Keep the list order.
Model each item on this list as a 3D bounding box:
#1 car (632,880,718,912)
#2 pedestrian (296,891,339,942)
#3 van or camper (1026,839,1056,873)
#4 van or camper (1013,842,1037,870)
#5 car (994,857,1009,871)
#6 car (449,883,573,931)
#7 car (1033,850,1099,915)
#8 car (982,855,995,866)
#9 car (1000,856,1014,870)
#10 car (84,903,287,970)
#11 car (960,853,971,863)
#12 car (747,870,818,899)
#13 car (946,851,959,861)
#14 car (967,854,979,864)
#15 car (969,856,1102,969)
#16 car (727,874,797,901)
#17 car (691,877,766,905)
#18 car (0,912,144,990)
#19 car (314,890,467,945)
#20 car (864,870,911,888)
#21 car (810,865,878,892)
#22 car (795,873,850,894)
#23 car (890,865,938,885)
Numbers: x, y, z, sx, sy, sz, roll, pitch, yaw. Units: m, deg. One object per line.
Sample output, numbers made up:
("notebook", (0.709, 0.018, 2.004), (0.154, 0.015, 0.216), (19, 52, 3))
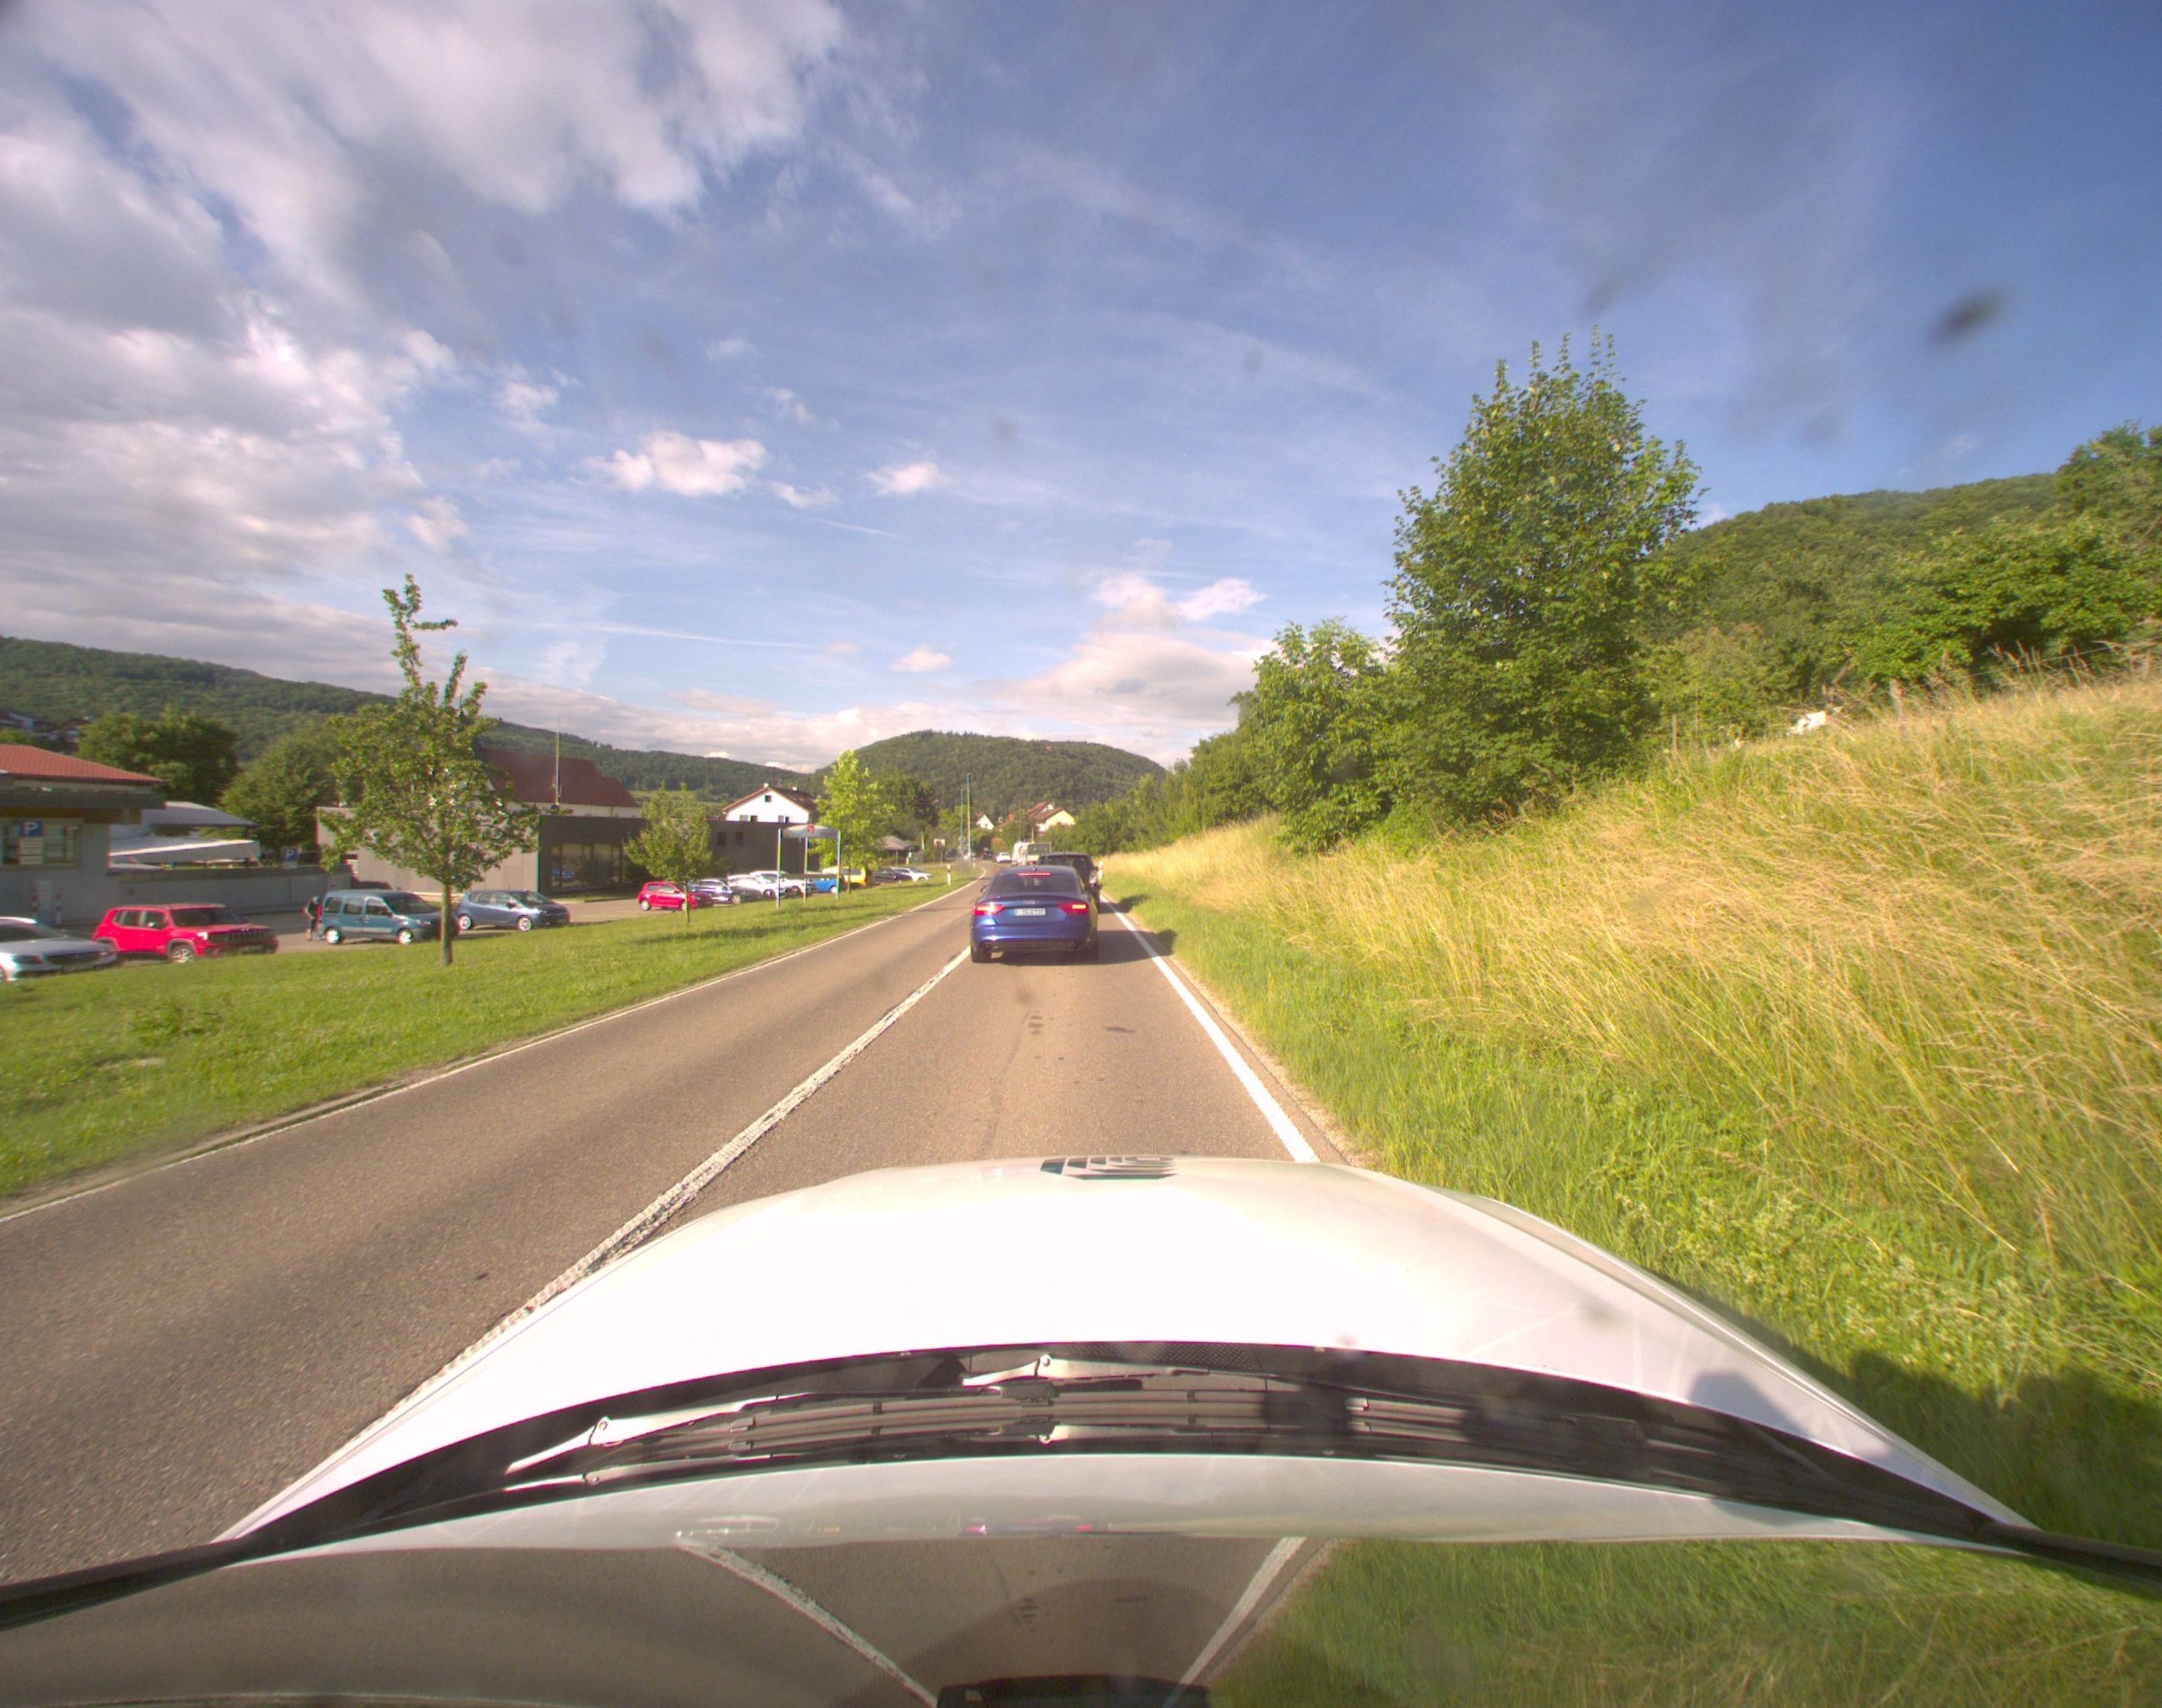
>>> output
("car", (-20.988, 2.172, 42.157), (3.603, 1.444, 1.653), (-2, -1, 9))
("pedestrian", (-26.409, 2.152, 28.167), (0.791, 1.693, 0.705), (0, -1, 2))
("van or camper", (-3.183, 0.205, 63.967), (2.049, 2.505, 5.801), (-2, -1, -5))
("van or camper", (-5.789, 0.239, 83.541), (2.278, 2.714, 5.755), (-2, -1, -6))
("car", (-11.782, 1.465, 120.174), (1.661, 1.924, 3.982), (-2, -1, -13))
("car", (-22.390, 2.072, 32.050), (3.796, 1.722, 1.736), (-2, -1, 8))
("car", (-0.460, 0.718, 22.071), (1.642, 1.625, 3.513), (0, 0, -3))
("car", (-16.078, 1.142, 141.348), (1.679, 1.924, 3.980), (-2, -1, -14))
("car", (-10.267, 1.264, 112.739), (1.659, 1.924, 3.989), (-2, -1, -8))
("car", (-24.056, 2.208, 21.954), (3.897, 1.579, 1.760), (-2, -1, 8))
("car", (-23.858, 0.847, 167.604), (1.680, 1.924, 3.979), (-2, -1, -15))
("car", (-19.588, 1.986, 53.559), (4.053, 1.673, 1.601), (-2, -1, 9))
("car", (-28.568, 0.451, 181.206), (1.962, 1.924, 3.973), (-2, -1, -20))
("car", (-21.196, 0.930, 159.123), (1.681, 1.924, 3.977), (-2, -1, -16))
("car", (-0.601, 0.783, 12.494), (1.737, 1.450, 3.516), (-1, 0, 0))
("car", (-19.669, 2.070, 50.285), (3.644, 1.494, 1.601), (-2, 0, 9))
("car", (-20.378, 2.147, 47.091), (3.603, 1.405, 1.601), (-2, -1, 9))
("car", (-25.345, 2.262, 19.226), (4.614, 1.589, 2.005), (-2, -1, 8))
("car", (-23.270, 2.120, 27.521), (3.842, 1.722, 1.759), (-1, -1, 6))
("car", (-17.115, 2.183, 72.212), (3.690, 1.439, 1.513), (-2, -1, 9))
("car", (-18.040, 1.879, 62.110), (4.526, 1.815, 1.846), (-2, -1, 9))
("car", (-18.893, 2.153, 59.598), (3.356, 1.373, 1.661), (-2, -1, 1))
("car", (-15.656, 1.955, 76.509), (4.011, 1.660, 1.660), (-2, -1, 9))
